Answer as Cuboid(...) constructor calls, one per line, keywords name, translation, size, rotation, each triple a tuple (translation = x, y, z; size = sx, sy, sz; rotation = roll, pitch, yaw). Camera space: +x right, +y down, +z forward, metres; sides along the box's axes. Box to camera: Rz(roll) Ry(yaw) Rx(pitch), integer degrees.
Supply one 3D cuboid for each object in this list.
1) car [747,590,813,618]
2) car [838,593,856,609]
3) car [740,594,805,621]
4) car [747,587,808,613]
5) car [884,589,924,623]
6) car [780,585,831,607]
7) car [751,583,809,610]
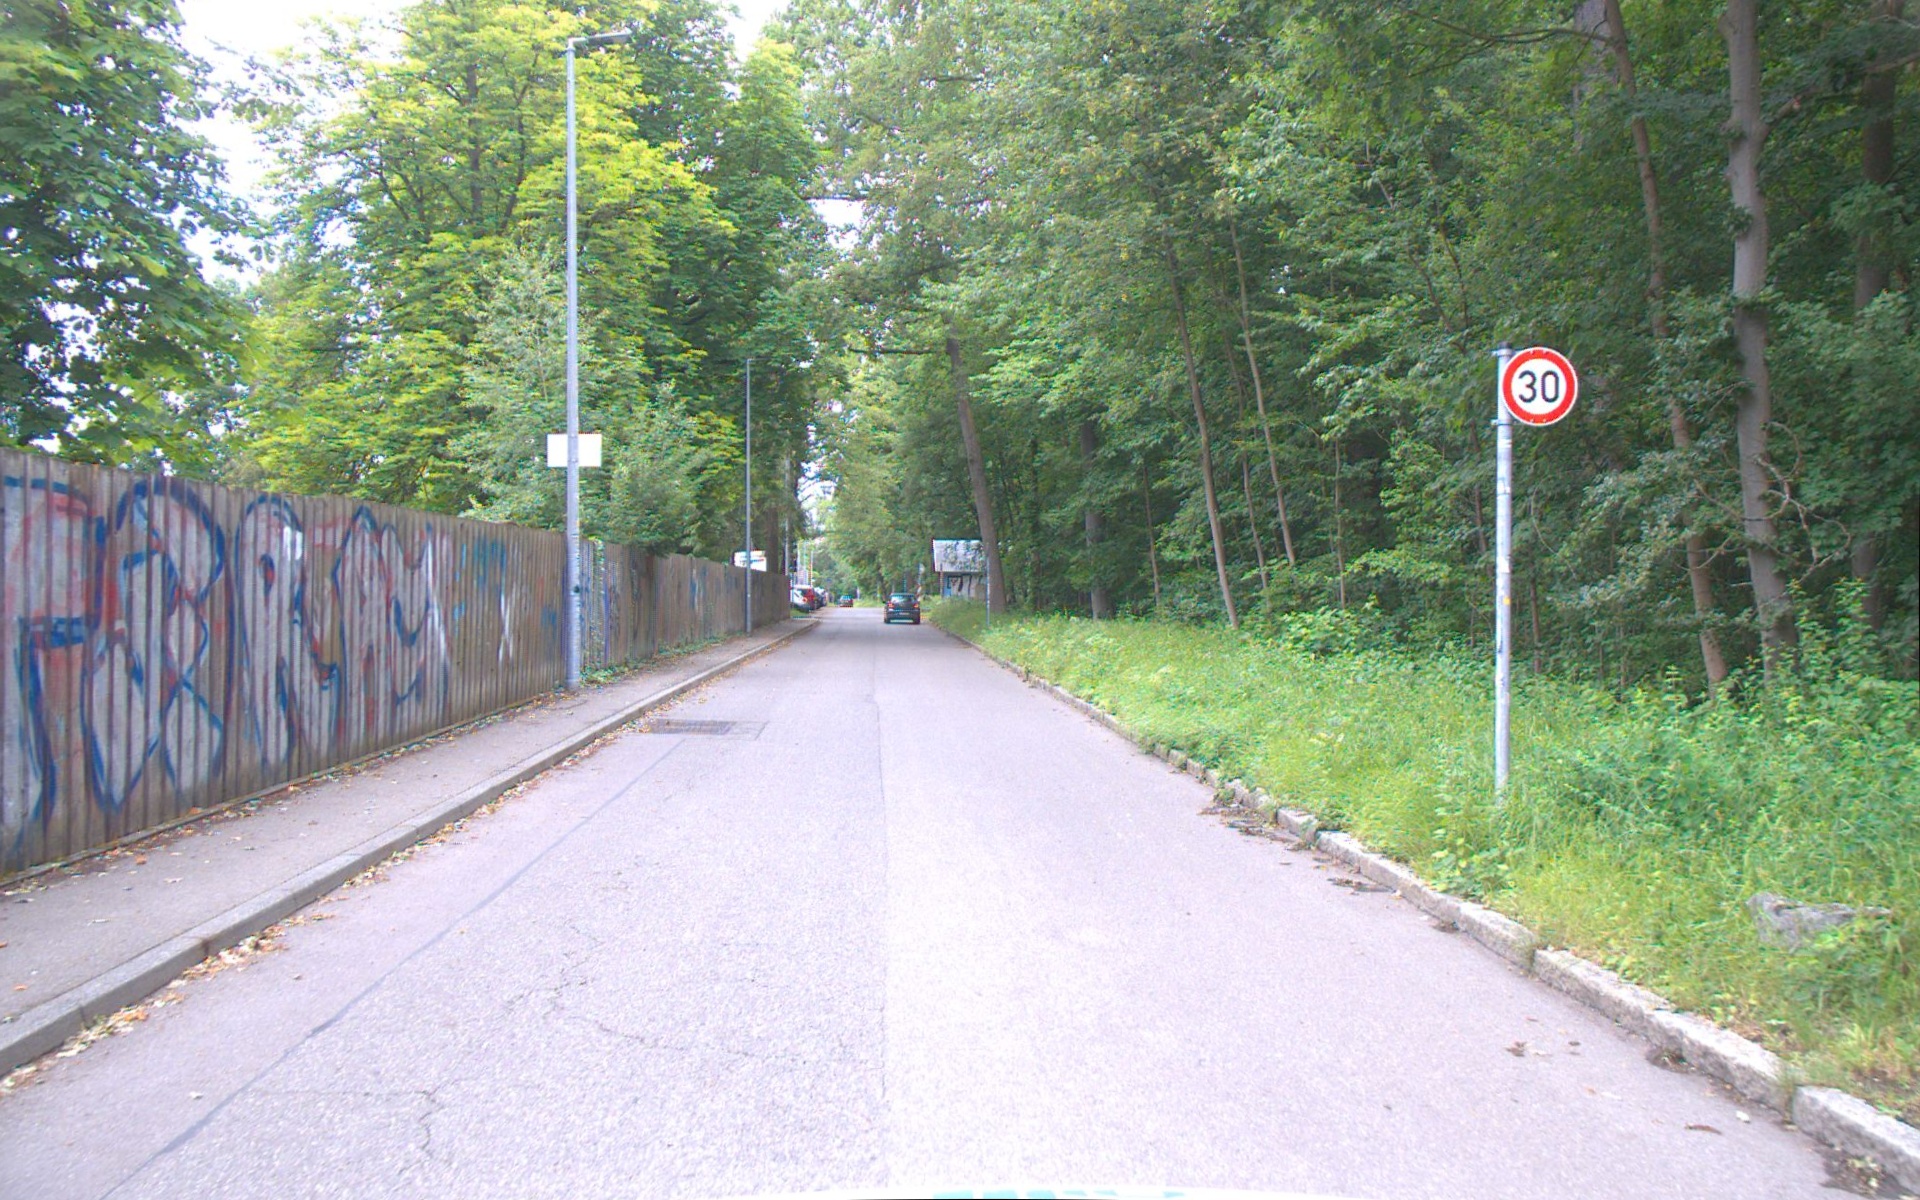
Cuboid(name="car", translation=(-10.830, 0.223, 99.488), size=(3.911, 1.601, 1.997), rotation=(-1, 0, -7))
Cuboid(name="car", translation=(-14.800, 0.167, 216.423), size=(1.956, 2.049, 3.992), rotation=(-1, 0, -9))
Cuboid(name="car", translation=(-11.516, 0.463, 101.777), size=(3.911, 1.601, 1.997), rotation=(0, 0, -7))
Cuboid(name="car", translation=(-11.863, 0.008, 107.394), size=(3.911, 1.601, 1.997), rotation=(-1, 0, -7))
Cuboid(name="car", translation=(-2.714, 0.317, 80.131), size=(1.869, 1.534, 3.998), rotation=(2, -1, -2))
Cuboid(name="car", translation=(-12.258, -0.321, 131.179), size=(3.908, 1.624, 1.763), rotation=(-2, -1, -4))
Cuboid(name="car", translation=(-12.253, -0.227, 112.430), size=(3.911, 1.780, 1.997), rotation=(0, 0, -7))
